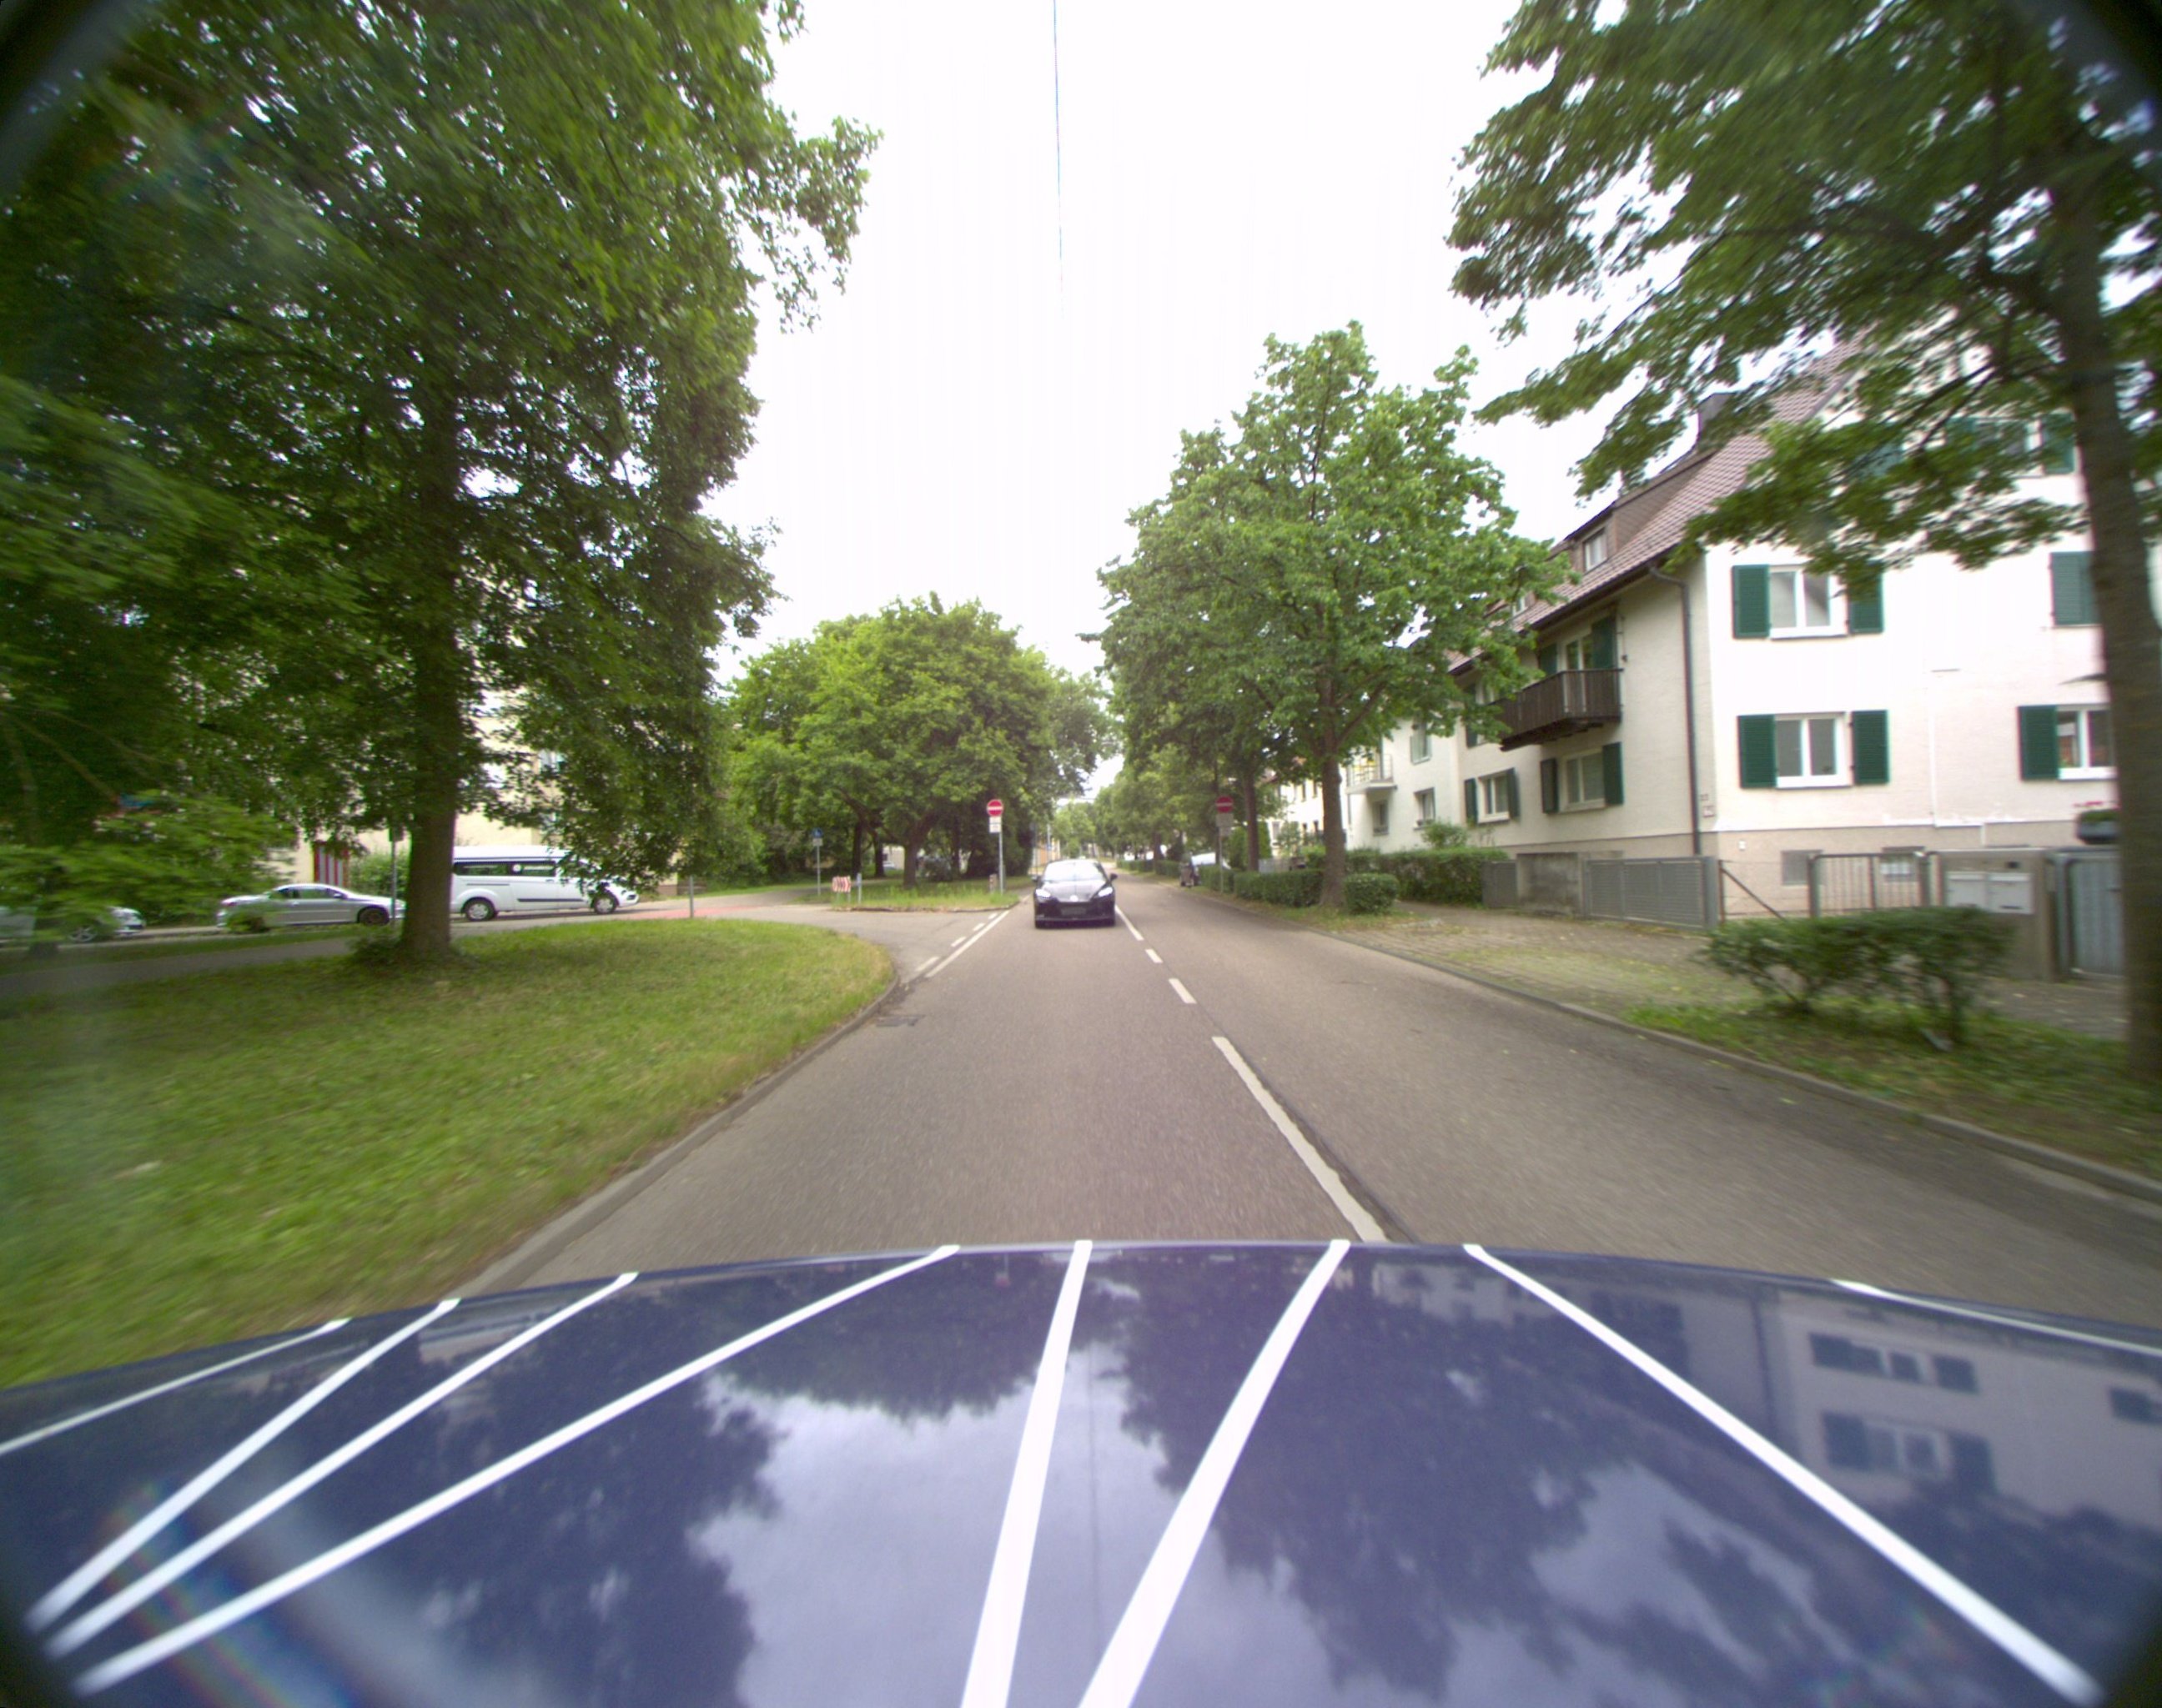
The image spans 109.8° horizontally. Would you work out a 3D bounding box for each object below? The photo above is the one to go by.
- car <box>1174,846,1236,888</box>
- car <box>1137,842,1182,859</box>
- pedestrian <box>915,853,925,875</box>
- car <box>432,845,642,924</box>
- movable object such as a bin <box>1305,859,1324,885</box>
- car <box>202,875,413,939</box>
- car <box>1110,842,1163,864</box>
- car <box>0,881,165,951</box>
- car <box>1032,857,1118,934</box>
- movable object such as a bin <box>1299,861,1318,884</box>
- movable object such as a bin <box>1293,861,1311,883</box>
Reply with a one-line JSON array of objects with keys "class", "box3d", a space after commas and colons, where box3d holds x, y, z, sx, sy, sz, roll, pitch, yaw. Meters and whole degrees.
[{"class": "car", "box3d": [5.655, 0.587, 35.240, 1.830, 1.743, 4.452, -2, 0, -3]}, {"class": "car", "box3d": [11.452, -0.457, 111.169, 6.377, 2.334, 1.973, -1, 0, -22]}, {"class": "pedestrian", "box3d": [-12.467, 0.788, 58.831, 0.650, 1.651, 0.649, -1, 1, -10]}, {"class": "car", "box3d": [-17.609, 0.920, 24.976, 5.335, 2.285, 2.287, -2, 0, -32]}, {"class": "movable object such as a bin", "box3d": [9.593, 0.734, 31.250, 0.561, 1.019, 0.601, -1, 1, -5]}, {"class": "car", "box3d": [-21.823, 1.435, 21.705, 4.007, 1.501, 1.795, -1, 0, -39]}, {"class": "car", "box3d": [8.652, -0.069, 118.566, 7.771, 3.256, 2.442, -1, 1, 28]}, {"class": "car", "box3d": [-25.627, 1.505, 18.134, 4.613, 1.501, 1.795, -1, 0, -45]}, {"class": "car", "box3d": [-0.121, 0.900, 18.389, 1.799, 1.552, 4.471, -2, 0, 0]}, {"class": "movable object such as a bin", "box3d": [9.546, 0.770, 31.915, 0.561, 0.935, 0.640, -1, 1, -5]}, {"class": "movable object such as a bin", "box3d": [9.476, 0.765, 32.603, 0.561, 0.935, 0.640, -1, 1, -5]}]
